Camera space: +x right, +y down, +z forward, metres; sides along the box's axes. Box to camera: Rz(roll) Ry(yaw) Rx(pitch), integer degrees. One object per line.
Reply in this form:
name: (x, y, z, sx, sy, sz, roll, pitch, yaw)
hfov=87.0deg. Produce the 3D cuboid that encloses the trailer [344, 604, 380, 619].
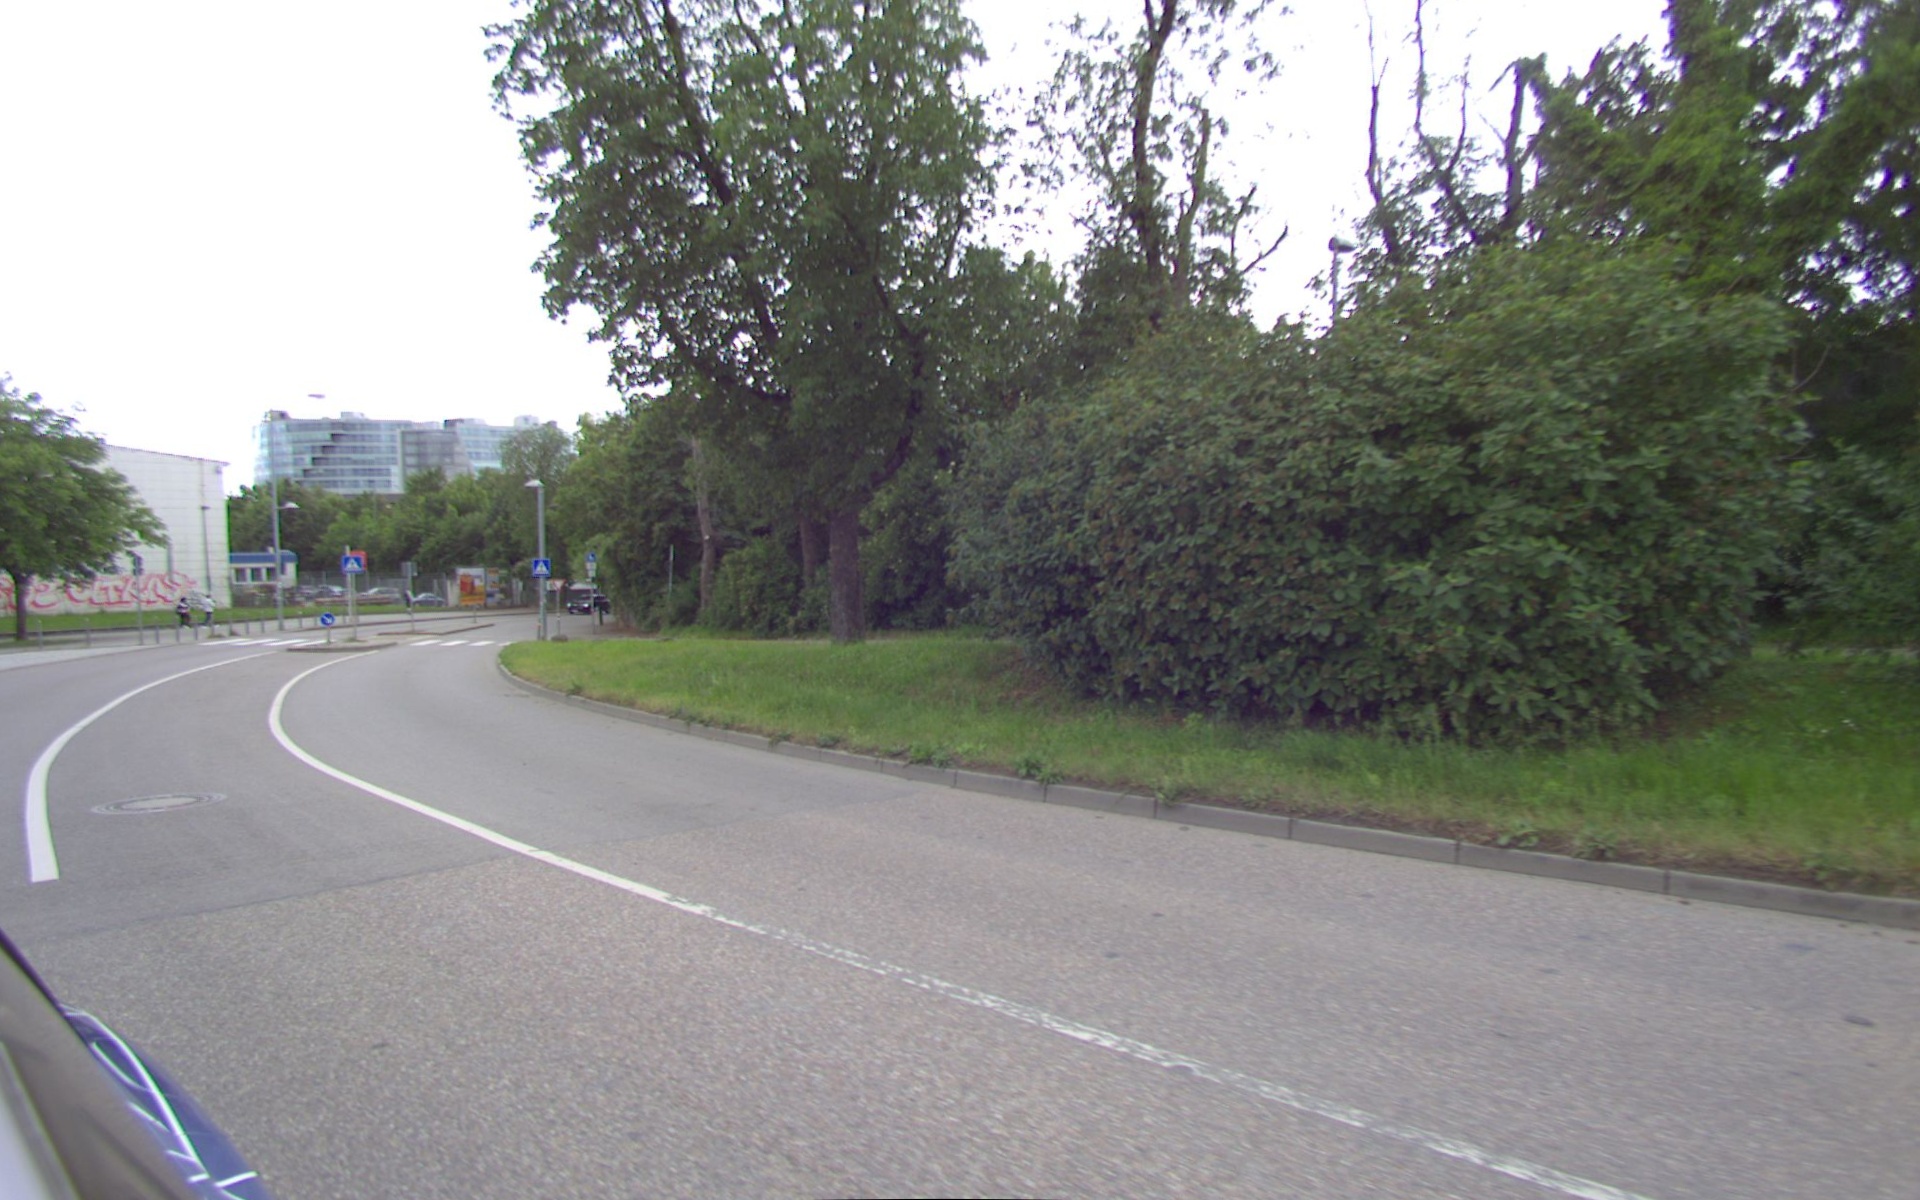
trailer: (-48.834, 0.913, 82.685, 2.639, 1.146, 1.824, 0, 1, 42)

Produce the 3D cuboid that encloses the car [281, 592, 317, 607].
car: (-61.874, -0.082, 94.689, 3.673, 1.341, 1.513, 0, 0, 33)

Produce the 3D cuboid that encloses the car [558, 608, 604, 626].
car: (-27.920, 1.253, 74.645, 1.458, 1.261, 3.353, 2, 0, 15)

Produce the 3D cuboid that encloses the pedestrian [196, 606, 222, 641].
pedestrian: (-37.998, 1.184, 51.198, 0.813, 1.715, 0.742, 0, 2, 28)

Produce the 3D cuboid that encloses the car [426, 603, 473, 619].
car: (-44.546, 0.985, 88.363, 1.469, 1.261, 3.328, 2, -1, 37)

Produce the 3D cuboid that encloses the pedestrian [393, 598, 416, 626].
pedestrian: (-35.230, 0.770, 64.160, 0.845, 1.696, 0.933, 1, 3, 24)

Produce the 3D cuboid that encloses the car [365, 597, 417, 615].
car: (-51.399, 0.559, 91.421, 1.563, 1.543, 3.763, 2, 0, 37)

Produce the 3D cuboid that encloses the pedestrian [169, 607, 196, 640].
pedestrian: (-39.142, 1.195, 50.939, 0.798, 1.595, 0.794, 0, 2, 28)
